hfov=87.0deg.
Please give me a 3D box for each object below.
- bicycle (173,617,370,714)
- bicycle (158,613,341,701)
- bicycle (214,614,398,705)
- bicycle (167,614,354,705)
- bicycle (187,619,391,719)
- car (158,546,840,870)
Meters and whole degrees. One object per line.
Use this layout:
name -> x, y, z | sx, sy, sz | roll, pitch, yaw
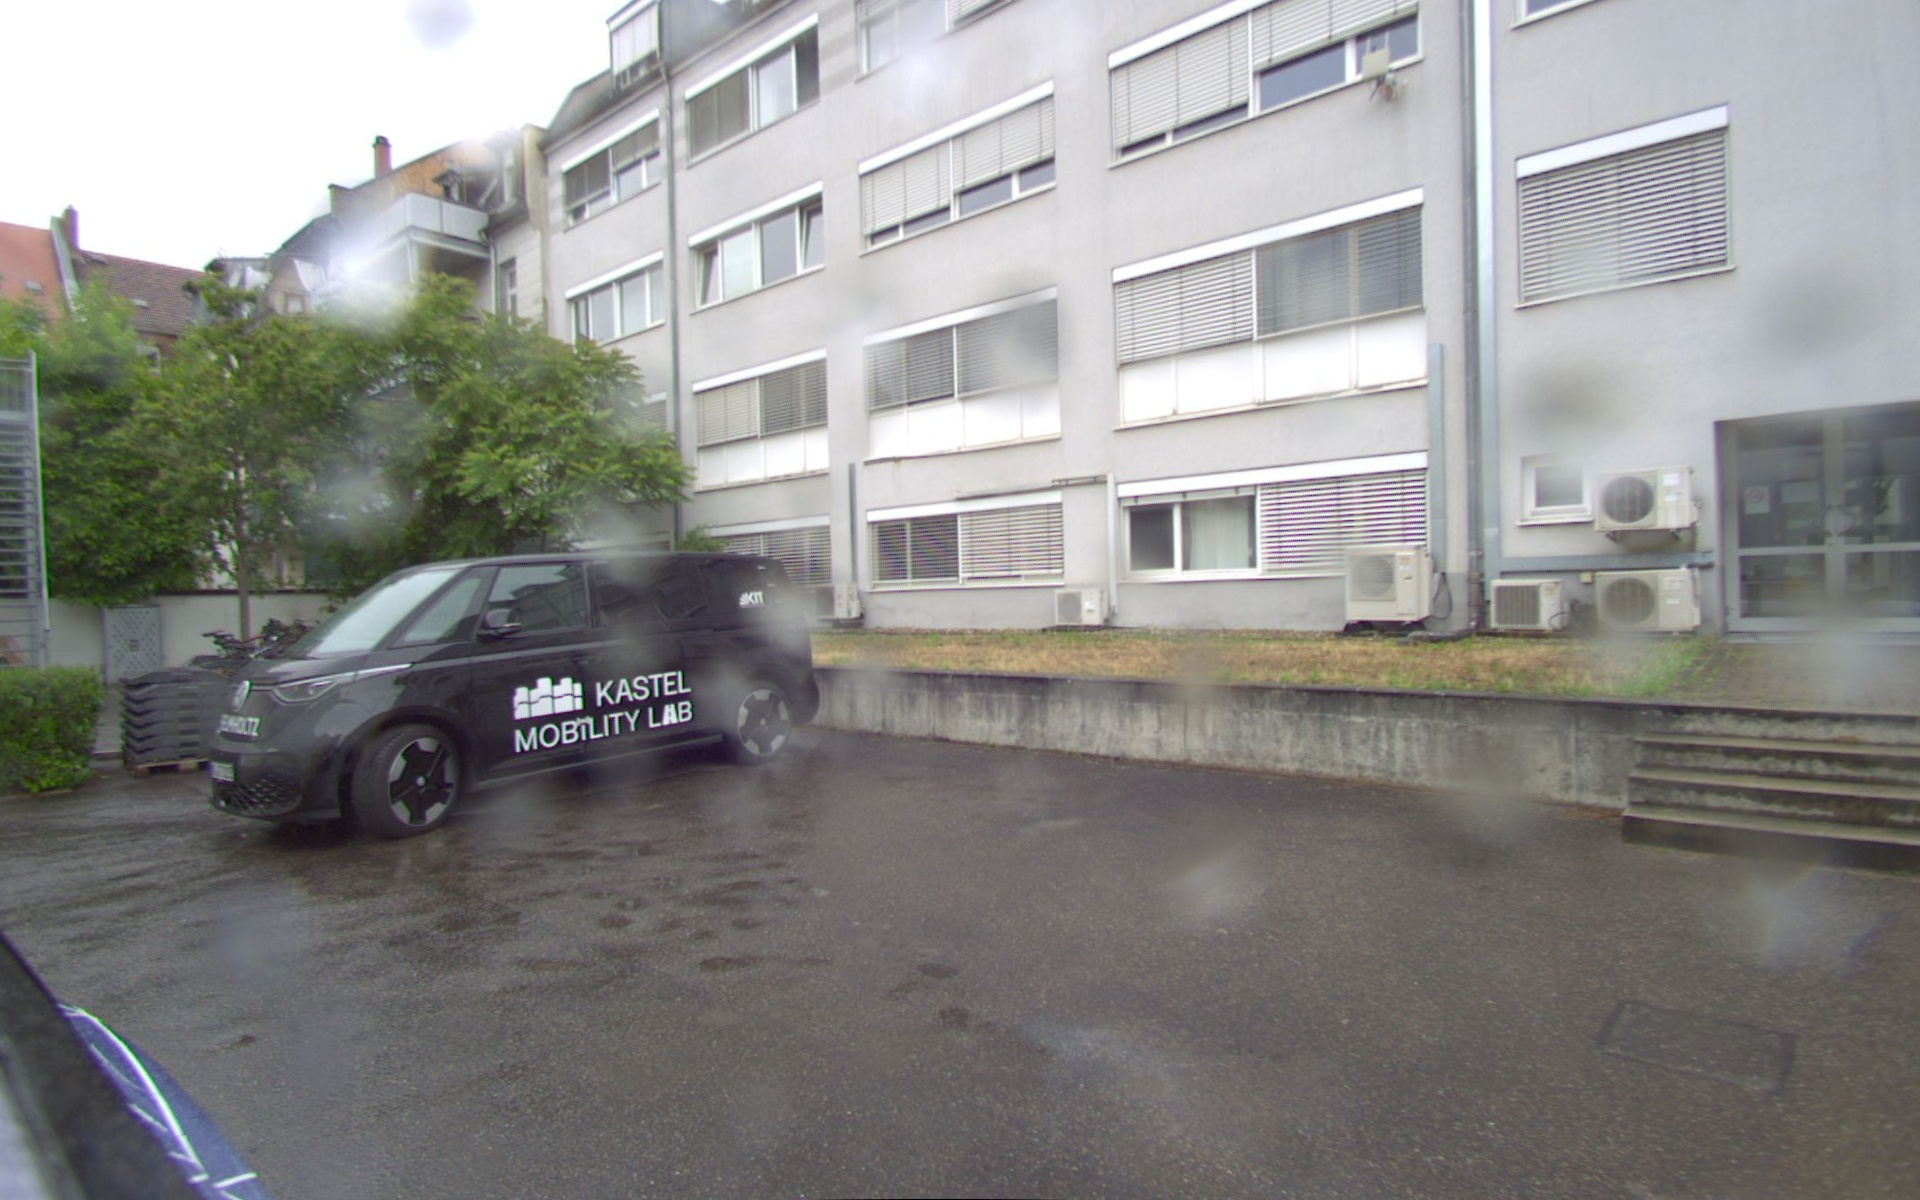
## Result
bicycle -> -9.946, 0.901, 14.703 | 2.286, 1.195, 0.644 | -2, 3, -43
bicycle -> -11.187, 0.860, 16.011 | 2.286, 1.195, 0.644 | -2, 3, -43
bicycle -> -10.006, 0.870, 15.564 | 2.286, 1.195, 0.644 | -2, 3, -43
bicycle -> -10.719, 0.873, 15.582 | 2.286, 1.195, 0.644 | -2, 3, -43
bicycle -> -9.343, 0.917, 14.174 | 2.286, 1.195, 0.644 | -2, 3, -43
car -> -3.349, 0.583, 8.189 | 1.986, 1.850, 4.571 | -3, 0, 39
